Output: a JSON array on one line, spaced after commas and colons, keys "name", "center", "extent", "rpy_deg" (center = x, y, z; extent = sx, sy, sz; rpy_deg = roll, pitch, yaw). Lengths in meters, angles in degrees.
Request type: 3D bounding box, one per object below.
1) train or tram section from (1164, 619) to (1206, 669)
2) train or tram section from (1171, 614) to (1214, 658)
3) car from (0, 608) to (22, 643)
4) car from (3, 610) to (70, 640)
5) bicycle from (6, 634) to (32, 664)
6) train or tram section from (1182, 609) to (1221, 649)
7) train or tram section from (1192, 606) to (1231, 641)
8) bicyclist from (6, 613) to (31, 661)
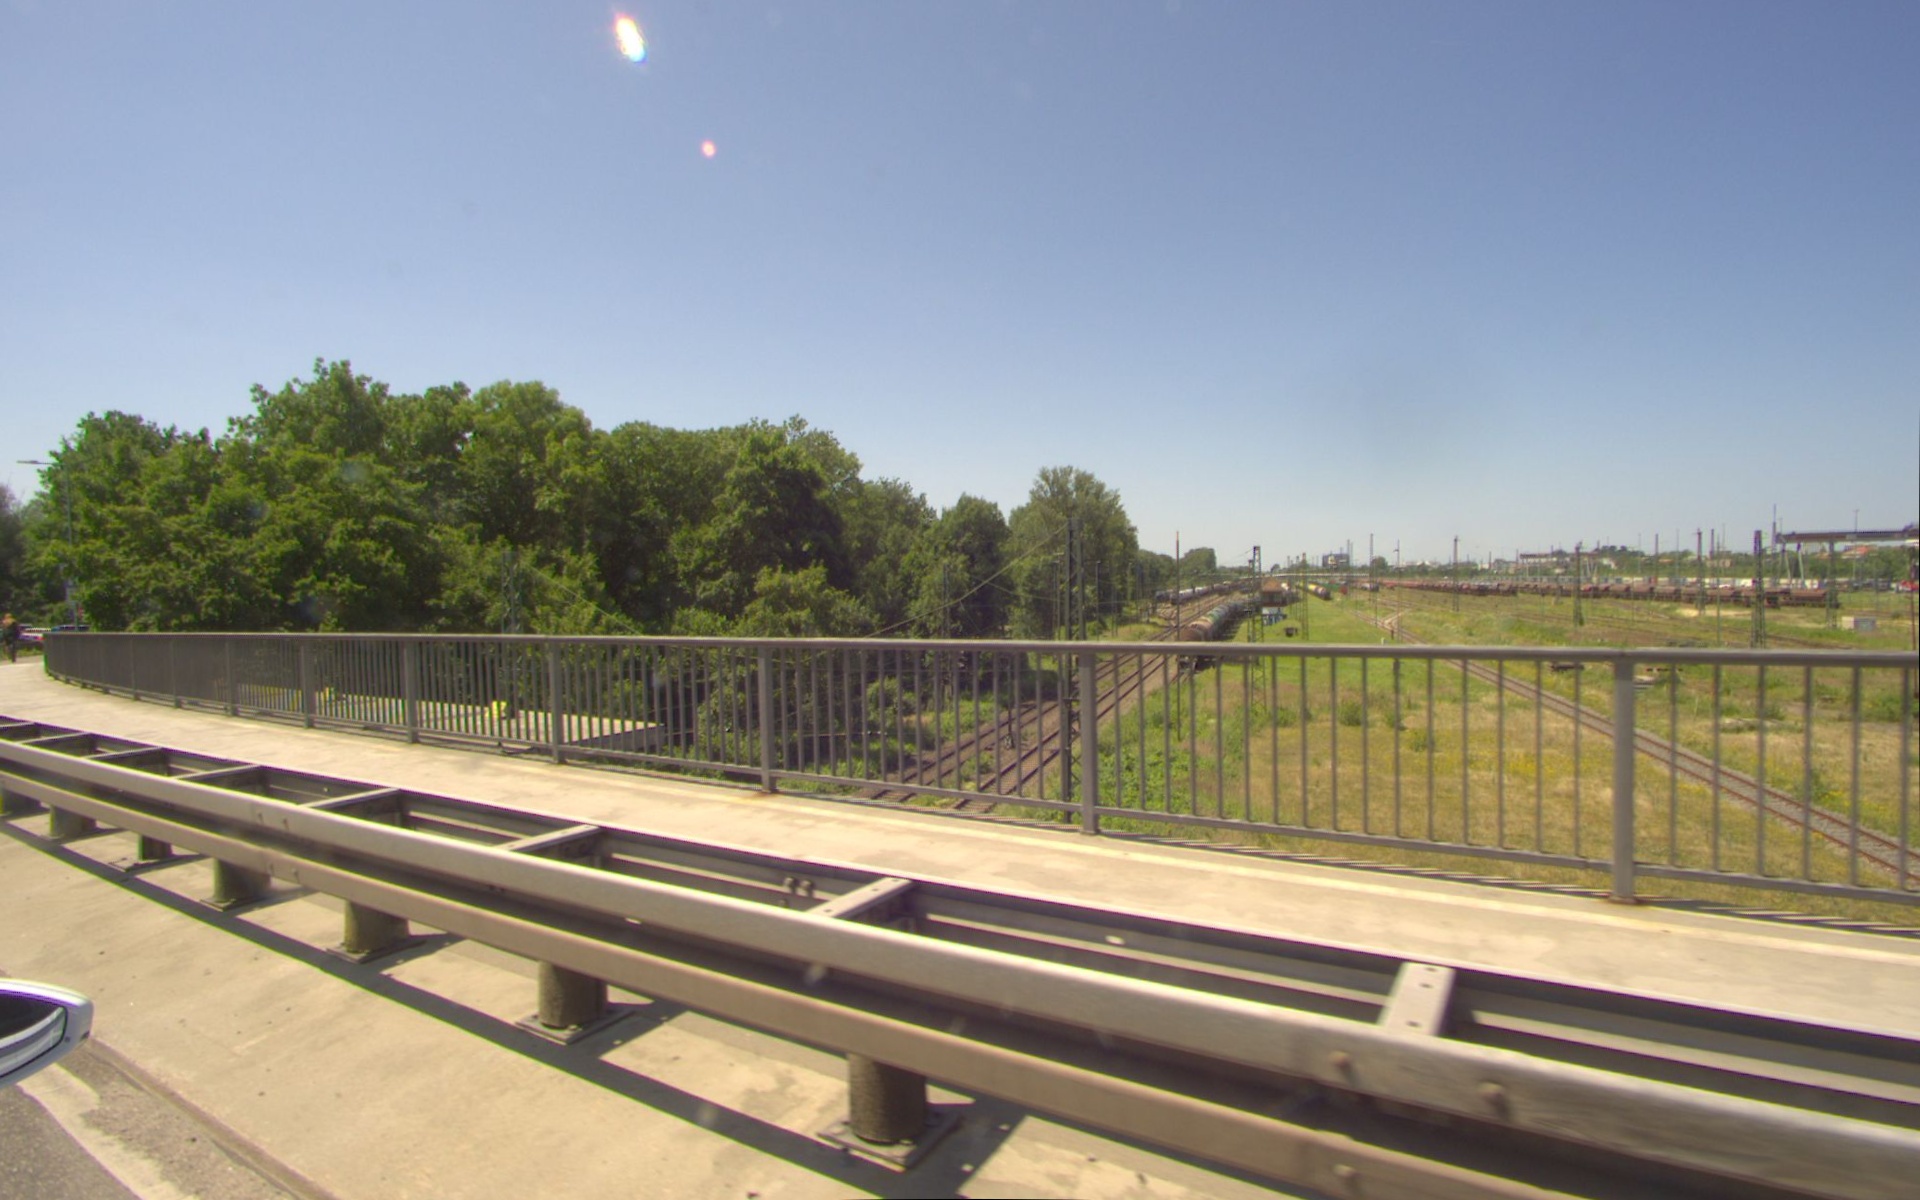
[{"name": "train or tram section", "center": [24.402, 4.632, 108.111], "extent": [3.781, 4.366, 13.609], "rpy_deg": [-2, 1, 15]}, {"name": "train or tram section", "center": [28.252, 4.212, 121.204], "extent": [3.784, 4.366, 13.601], "rpy_deg": [-2, 1, 18]}, {"name": "car", "center": [-51.103, 1.358, 52.828], "extent": [1.668, 1.783, 3.977], "rpy_deg": [0, -2, -32]}, {"name": "car", "center": [-54.403, 1.524, 59.076], "extent": [1.972, 1.594, 3.982], "rpy_deg": [2, -4, -29]}, {"name": "bicycle", "center": [-35.073, 1.798, 37.317], "extent": [1.469, 1.050, 0.578], "rpy_deg": [-1, 2, 44]}, {"name": "train or tram section", "center": [32.441, 3.779, 134.112], "extent": [3.784, 4.366, 13.599], "rpy_deg": [-2, 1, 19]}, {"name": "train or tram section", "center": [36.981, 3.353, 146.862], "extent": [3.786, 4.366, 13.593], "rpy_deg": [-2, 1, 21]}, {"name": "bicyclist", "center": [-35.054, 1.368, 37.274], "extent": [0.721, 1.706, 0.574], "rpy_deg": [0, 3, 43]}]
